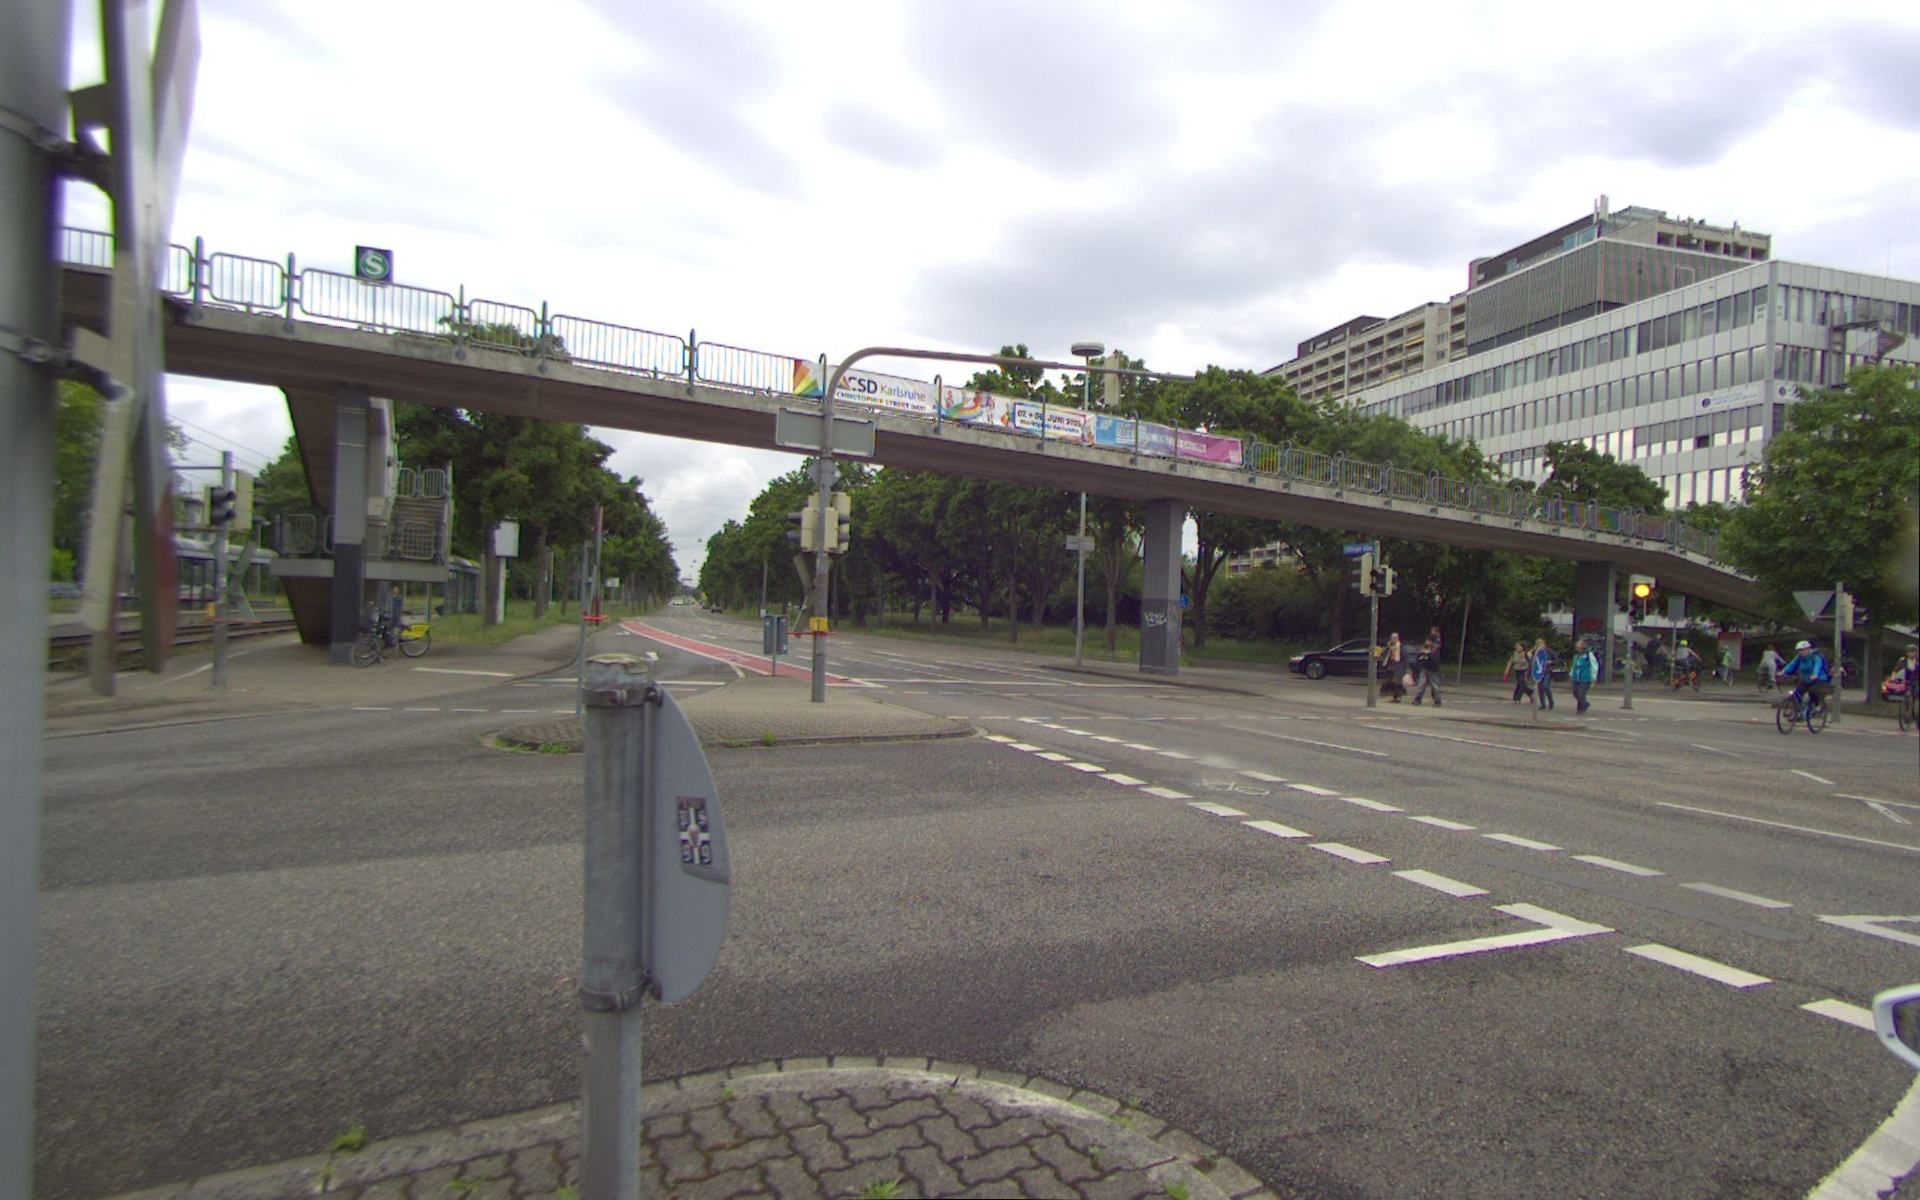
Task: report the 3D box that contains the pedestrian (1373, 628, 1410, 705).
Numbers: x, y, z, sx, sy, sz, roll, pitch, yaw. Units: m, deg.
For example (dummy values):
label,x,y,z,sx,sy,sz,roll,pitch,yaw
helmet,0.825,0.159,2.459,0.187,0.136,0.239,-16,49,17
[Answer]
label,x,y,z,sx,sy,sz,roll,pitch,yaw
pedestrian,9.844,1.515,22.919,0.402,1.713,0.612,4,-1,-44

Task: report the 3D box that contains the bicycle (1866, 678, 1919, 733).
label,x,y,z,sx,sy,sz,roll,pitch,yaw
bicycle,20.968,2.328,22.235,2.239,1.115,0.723,4,-1,-31

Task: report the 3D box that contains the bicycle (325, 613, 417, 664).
label,x,y,z,sx,sy,sz,roll,pitch,yaw
bicycle,-11.159,0.708,19.125,0.547,0.900,2.404,3,-1,-6

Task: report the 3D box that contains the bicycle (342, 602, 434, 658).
label,x,y,z,sx,sy,sz,roll,pitch,yaw
bicycle,-11.726,0.629,20.642,0.345,1.109,1.612,2,-1,33

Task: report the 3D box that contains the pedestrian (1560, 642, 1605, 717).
label,x,y,z,sx,sy,sz,roll,pitch,yaw
pedestrian,14.002,1.773,22.606,0.483,1.626,0.682,3,-1,-35

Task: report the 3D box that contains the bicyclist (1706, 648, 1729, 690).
label,x,y,z,sx,sy,sz,roll,pitch,yaw
bicyclist,31.432,2.851,41.671,0.525,1.666,0.562,4,-1,-28

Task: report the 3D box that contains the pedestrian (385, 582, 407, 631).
label,x,y,z,sx,sy,sz,roll,pitch,yaw
pedestrian,-18.340,0.211,32.653,0.554,1.585,0.332,3,-1,-30

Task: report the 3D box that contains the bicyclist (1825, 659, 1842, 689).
label,x,y,z,sx,sy,sz,roll,pitch,yaw
bicyclist,35.660,3.022,40.990,0.373,1.197,0.403,3,-1,-28

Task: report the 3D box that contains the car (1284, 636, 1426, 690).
label,x,y,z,sx,sy,sz,roll,pitch,yaw
car,13.358,2.080,34.047,4.314,1.528,1.672,2,-1,24

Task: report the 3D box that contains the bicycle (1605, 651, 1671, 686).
label,x,y,z,sx,sy,sz,roll,pitch,yaw
bicycle,27.723,2.820,41.027,3.191,1.332,0.852,3,-1,-29

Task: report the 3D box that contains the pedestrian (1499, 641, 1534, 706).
label,x,y,z,sx,sy,sz,roll,pitch,yaw
pedestrian,14.199,1.869,25.633,0.572,1.600,0.778,2,-1,41

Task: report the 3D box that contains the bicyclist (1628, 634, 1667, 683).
label,x,y,z,sx,sy,sz,roll,pitch,yaw
bicyclist,28.191,2.392,41.180,1.114,1.918,0.852,3,-1,-29

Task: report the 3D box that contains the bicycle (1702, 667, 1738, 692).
label,x,y,z,sx,sy,sz,roll,pitch,yaw
bicycle,31.499,3.298,41.626,1.689,0.961,0.524,4,-1,-29

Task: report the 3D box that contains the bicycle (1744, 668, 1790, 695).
label,x,y,z,sx,sy,sz,roll,pitch,yaw
bicycle,30.997,3.132,38.582,1.932,0.961,0.758,4,-1,-32

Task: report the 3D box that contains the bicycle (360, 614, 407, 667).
label,x,y,z,sx,sy,sz,roll,pitch,yaw
bicycle,-11.039,0.752,19.282,0.368,0.933,2.029,2,-1,-19

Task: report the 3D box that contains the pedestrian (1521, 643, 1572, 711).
label,x,y,z,sx,sy,sz,roll,pitch,yaw
pedestrian,13.726,1.794,23.524,0.401,1.531,0.909,3,-1,-41

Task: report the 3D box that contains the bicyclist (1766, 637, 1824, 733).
label,x,y,z,sx,sy,sz,roll,pitch,yaw
bicyclist,16.151,1.634,19.436,0.639,1.792,0.641,3,-1,-29

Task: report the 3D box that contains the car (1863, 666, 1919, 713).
label,x,y,z,sx,sy,sz,roll,pitch,yaw
car,31.875,3.009,33.292,3.483,1.408,1.509,4,-2,-23

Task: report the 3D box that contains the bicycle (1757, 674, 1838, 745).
label,x,y,z,sx,sy,sz,roll,pitch,yaw
bicycle,16.324,2.126,19.563,2.087,1.284,0.540,4,-1,-31

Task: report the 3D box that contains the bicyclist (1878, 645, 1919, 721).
label,x,y,z,sx,sy,sz,roll,pitch,yaw
bicyclist,20.889,1.826,22.202,0.687,1.615,0.675,4,-1,-31

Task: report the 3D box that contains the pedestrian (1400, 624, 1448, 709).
label,x,y,z,sx,sy,sz,roll,pitch,yaw
pedestrian,10.382,1.480,22.458,0.795,1.827,0.631,3,-1,-39
